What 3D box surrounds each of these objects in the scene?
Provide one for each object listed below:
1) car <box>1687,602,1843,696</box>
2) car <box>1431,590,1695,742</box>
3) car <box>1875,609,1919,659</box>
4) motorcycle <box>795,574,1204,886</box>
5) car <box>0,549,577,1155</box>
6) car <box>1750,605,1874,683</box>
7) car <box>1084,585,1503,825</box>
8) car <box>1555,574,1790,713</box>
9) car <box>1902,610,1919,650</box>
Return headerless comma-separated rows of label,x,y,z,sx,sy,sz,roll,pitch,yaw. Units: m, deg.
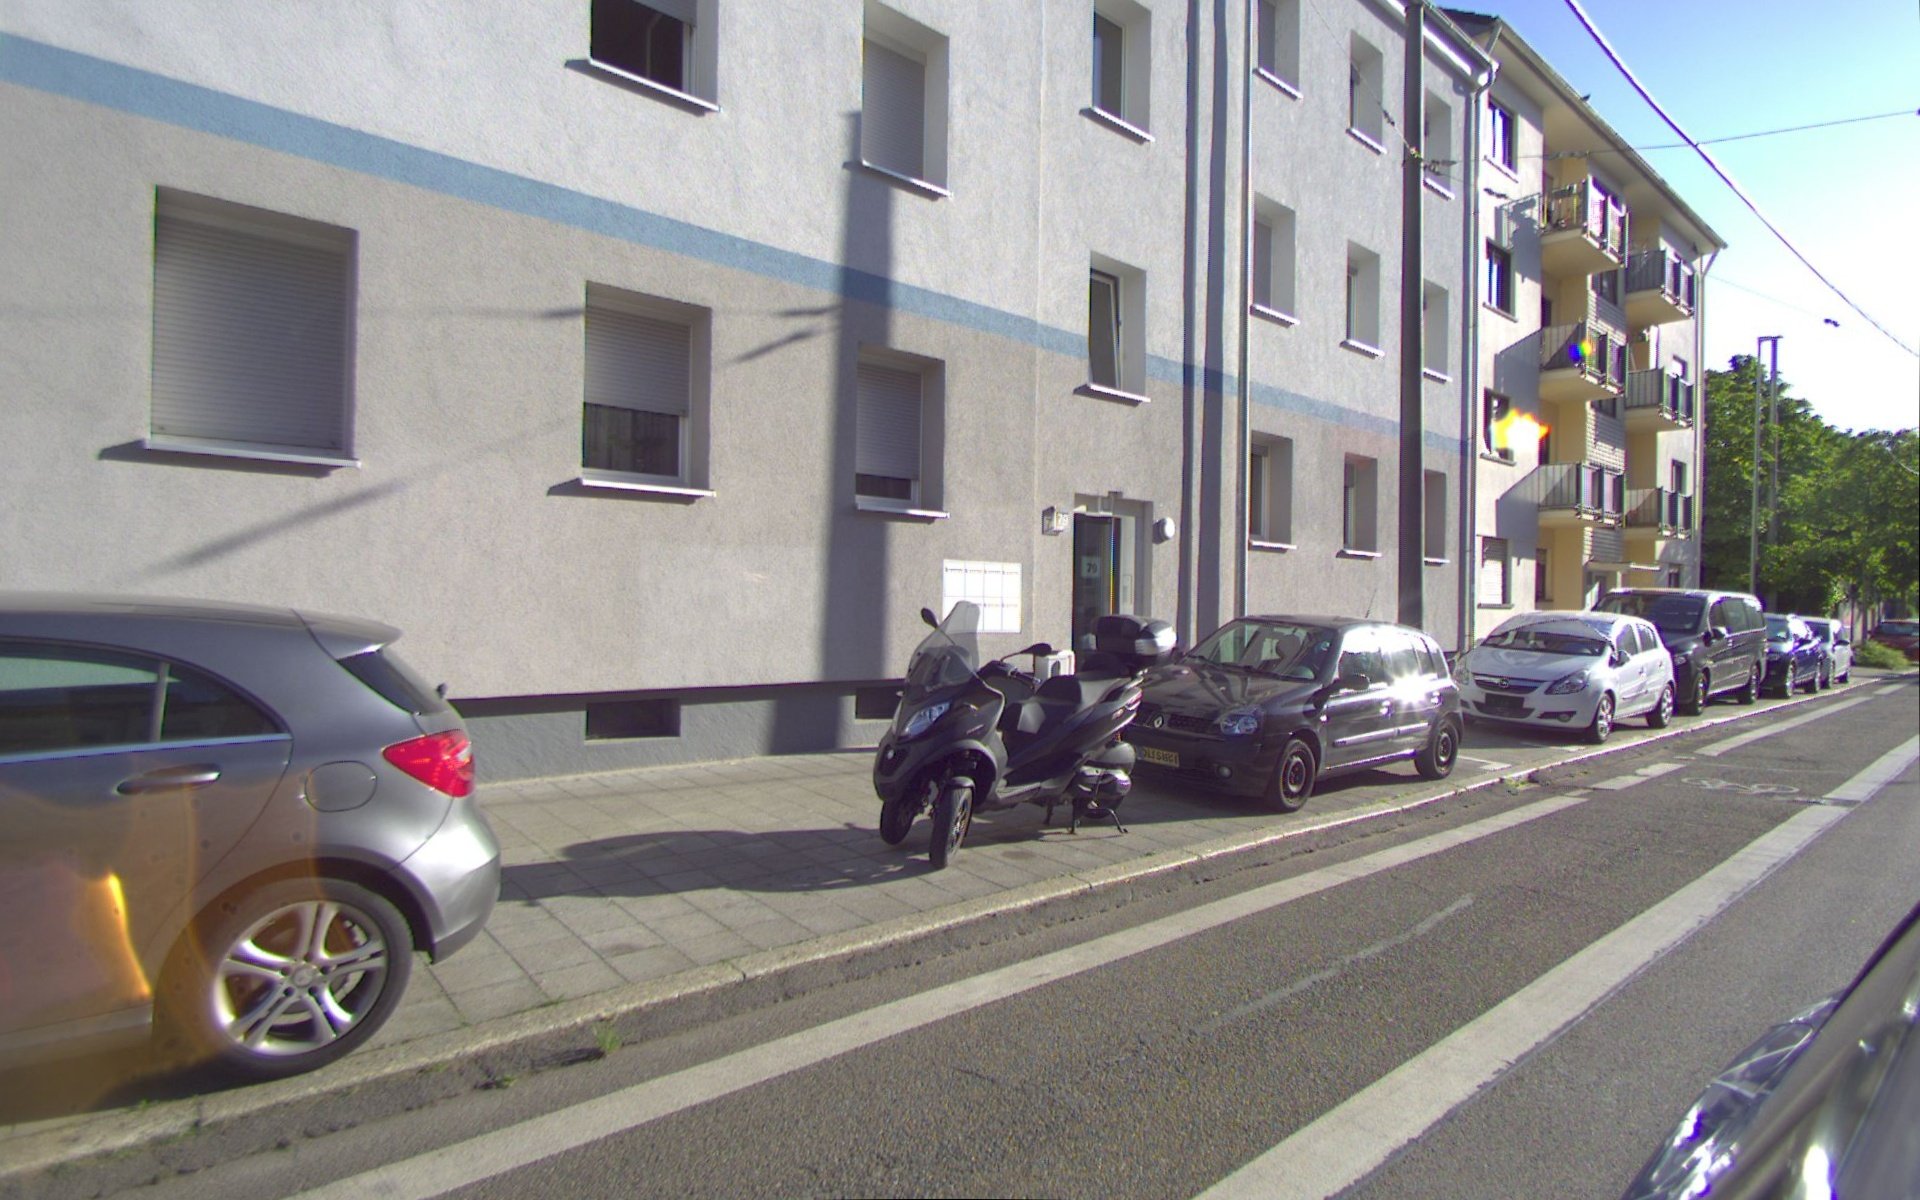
car,15.871,0.884,19.882,4.144,1.590,1.612,1,2,-41
car,7.795,0.733,12.958,3.836,1.590,1.804,1,2,-42
car,33.130,1.143,34.996,4.399,1.590,1.612,1,2,-41
motorcycle,0.357,0.653,6.236,2.661,1.540,0.807,1,2,-42
car,-3.604,0.620,2.924,4.288,1.574,1.868,1,2,-40
car,19.291,0.935,22.877,3.568,1.561,1.556,1,2,-41
car,3.007,0.726,8.755,3.834,1.590,1.612,1,2,-40
car,11.913,0.635,16.778,4.914,1.945,1.934,1,2,-40
car,40.192,1.249,41.519,4.400,1.590,1.827,1,2,-42
